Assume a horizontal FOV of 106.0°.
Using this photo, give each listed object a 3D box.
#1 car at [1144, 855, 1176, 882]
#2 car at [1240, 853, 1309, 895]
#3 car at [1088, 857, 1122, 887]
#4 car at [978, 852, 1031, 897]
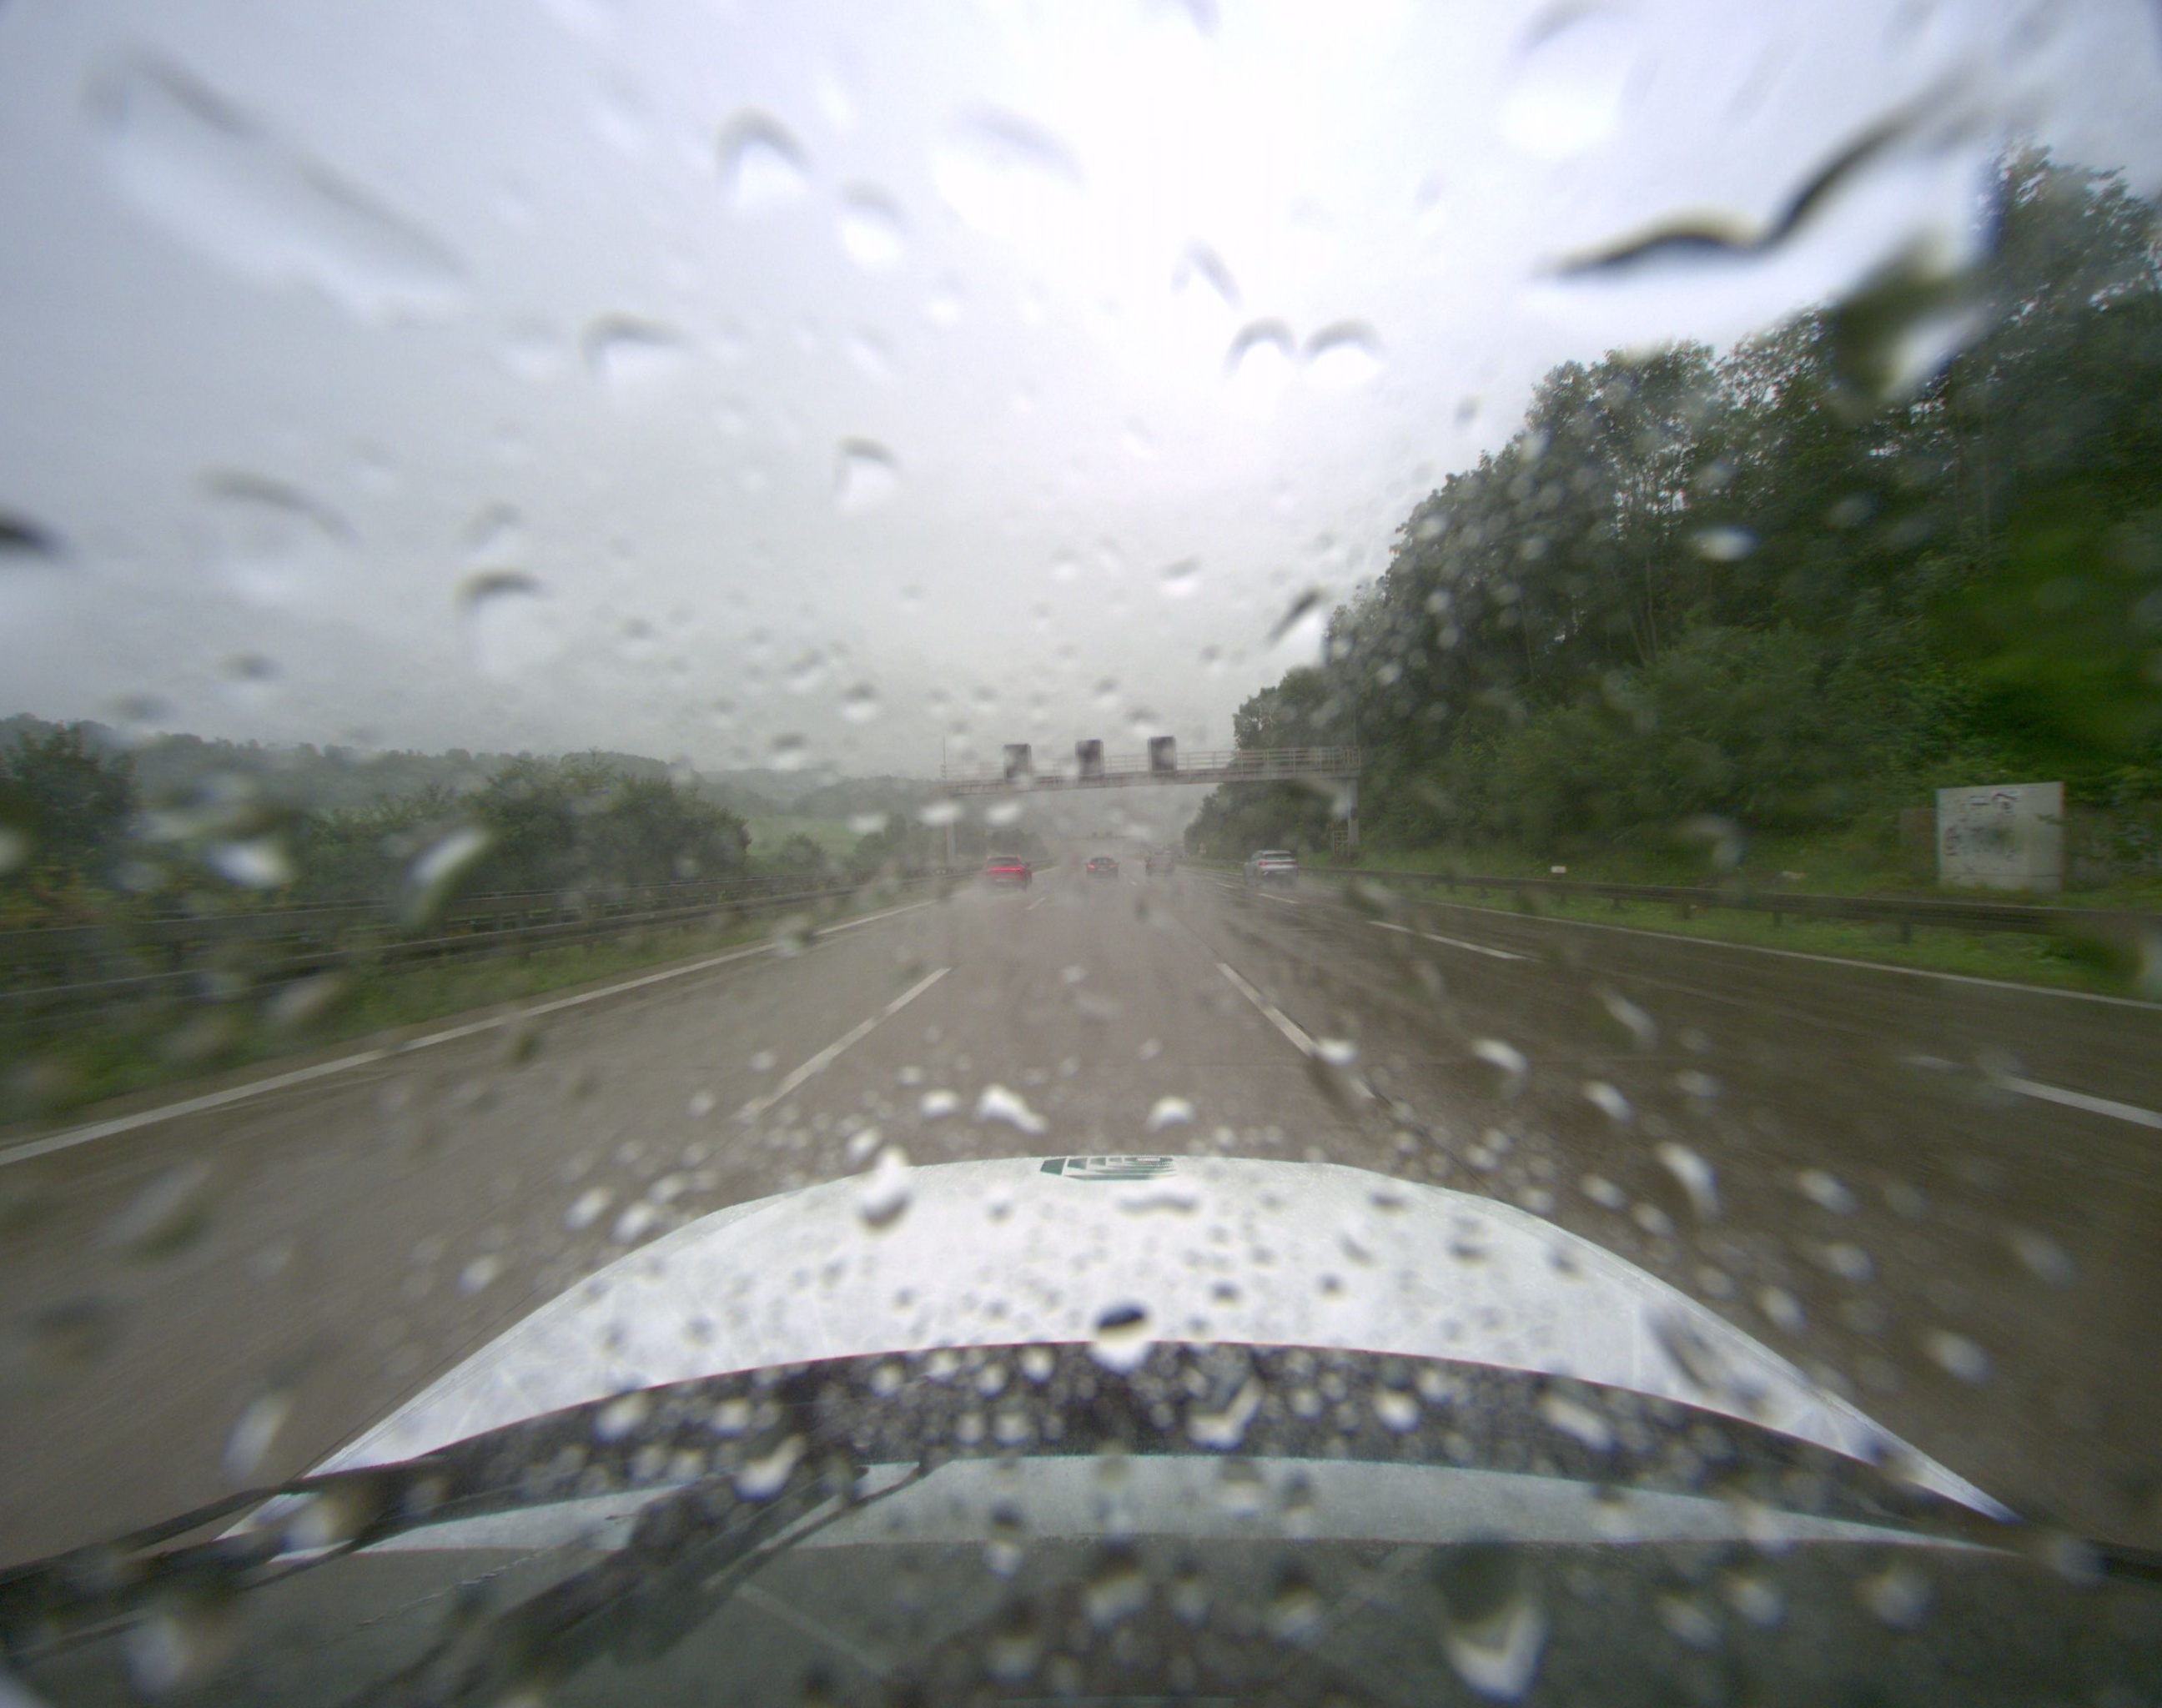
[{"bbox_3d":[5.531,0.998,57.486,1.964,1.760,4.002,-1,0,2],"label":"car"},{"bbox_3d":[8.752,0.866,37.379,1.986,1.750,5.664,0,0,2],"label":"car"},{"bbox_3d":[1.405,0.996,46.711,1.853,1.589,4.001,0,0,2],"label":"car"},{"bbox_3d":[-3.260,0.834,35.441,1.878,1.816,4.000,-1,0,1],"label":"car"}]
